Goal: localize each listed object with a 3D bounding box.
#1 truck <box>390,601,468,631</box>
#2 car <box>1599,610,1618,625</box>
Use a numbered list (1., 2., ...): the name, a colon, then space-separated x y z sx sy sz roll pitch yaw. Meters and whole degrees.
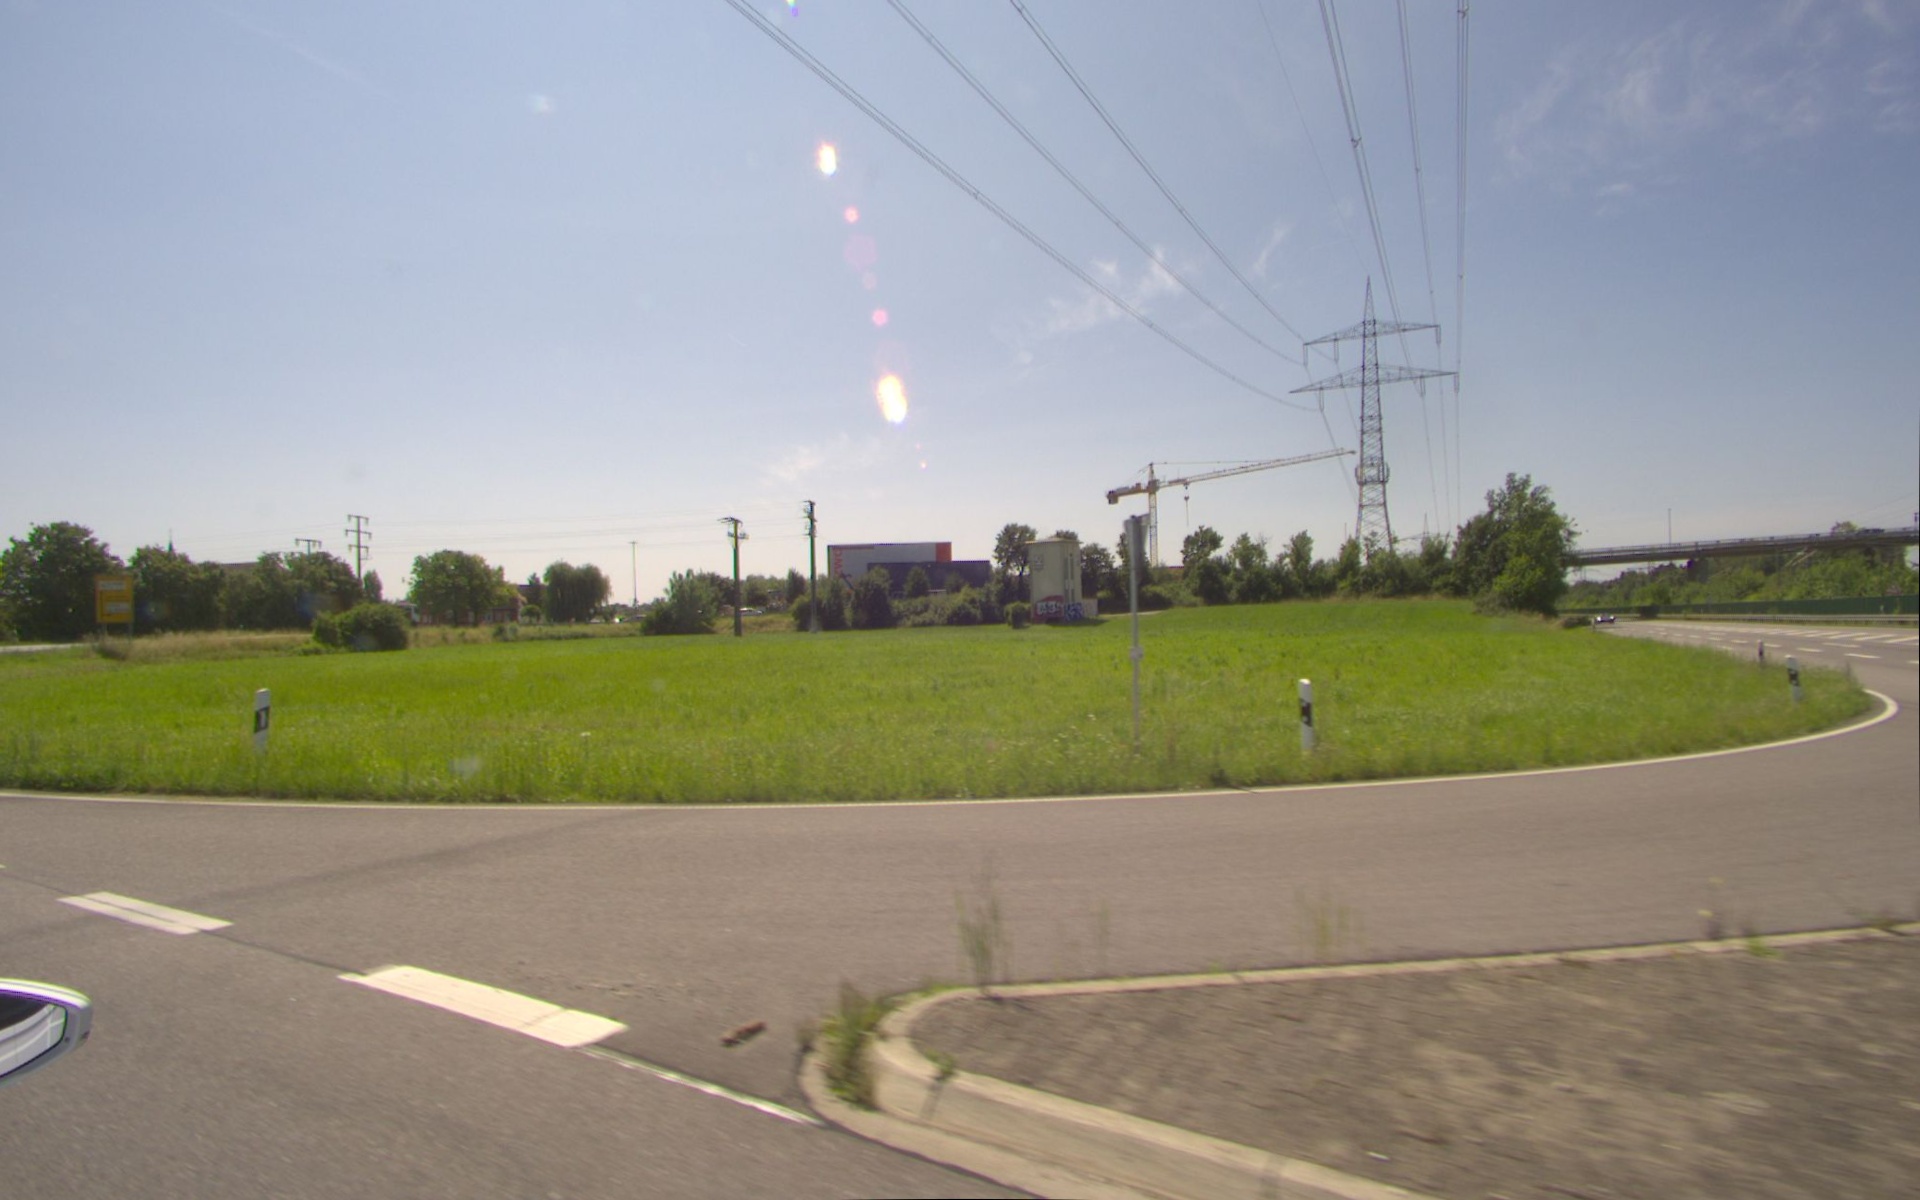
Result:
1. truck: -59.657 1.867 112.751 3.049 3.176 8.806 0 -3 8
2. car: 78.755 2.075 121.620 1.699 1.746 3.982 -1 -1 29
